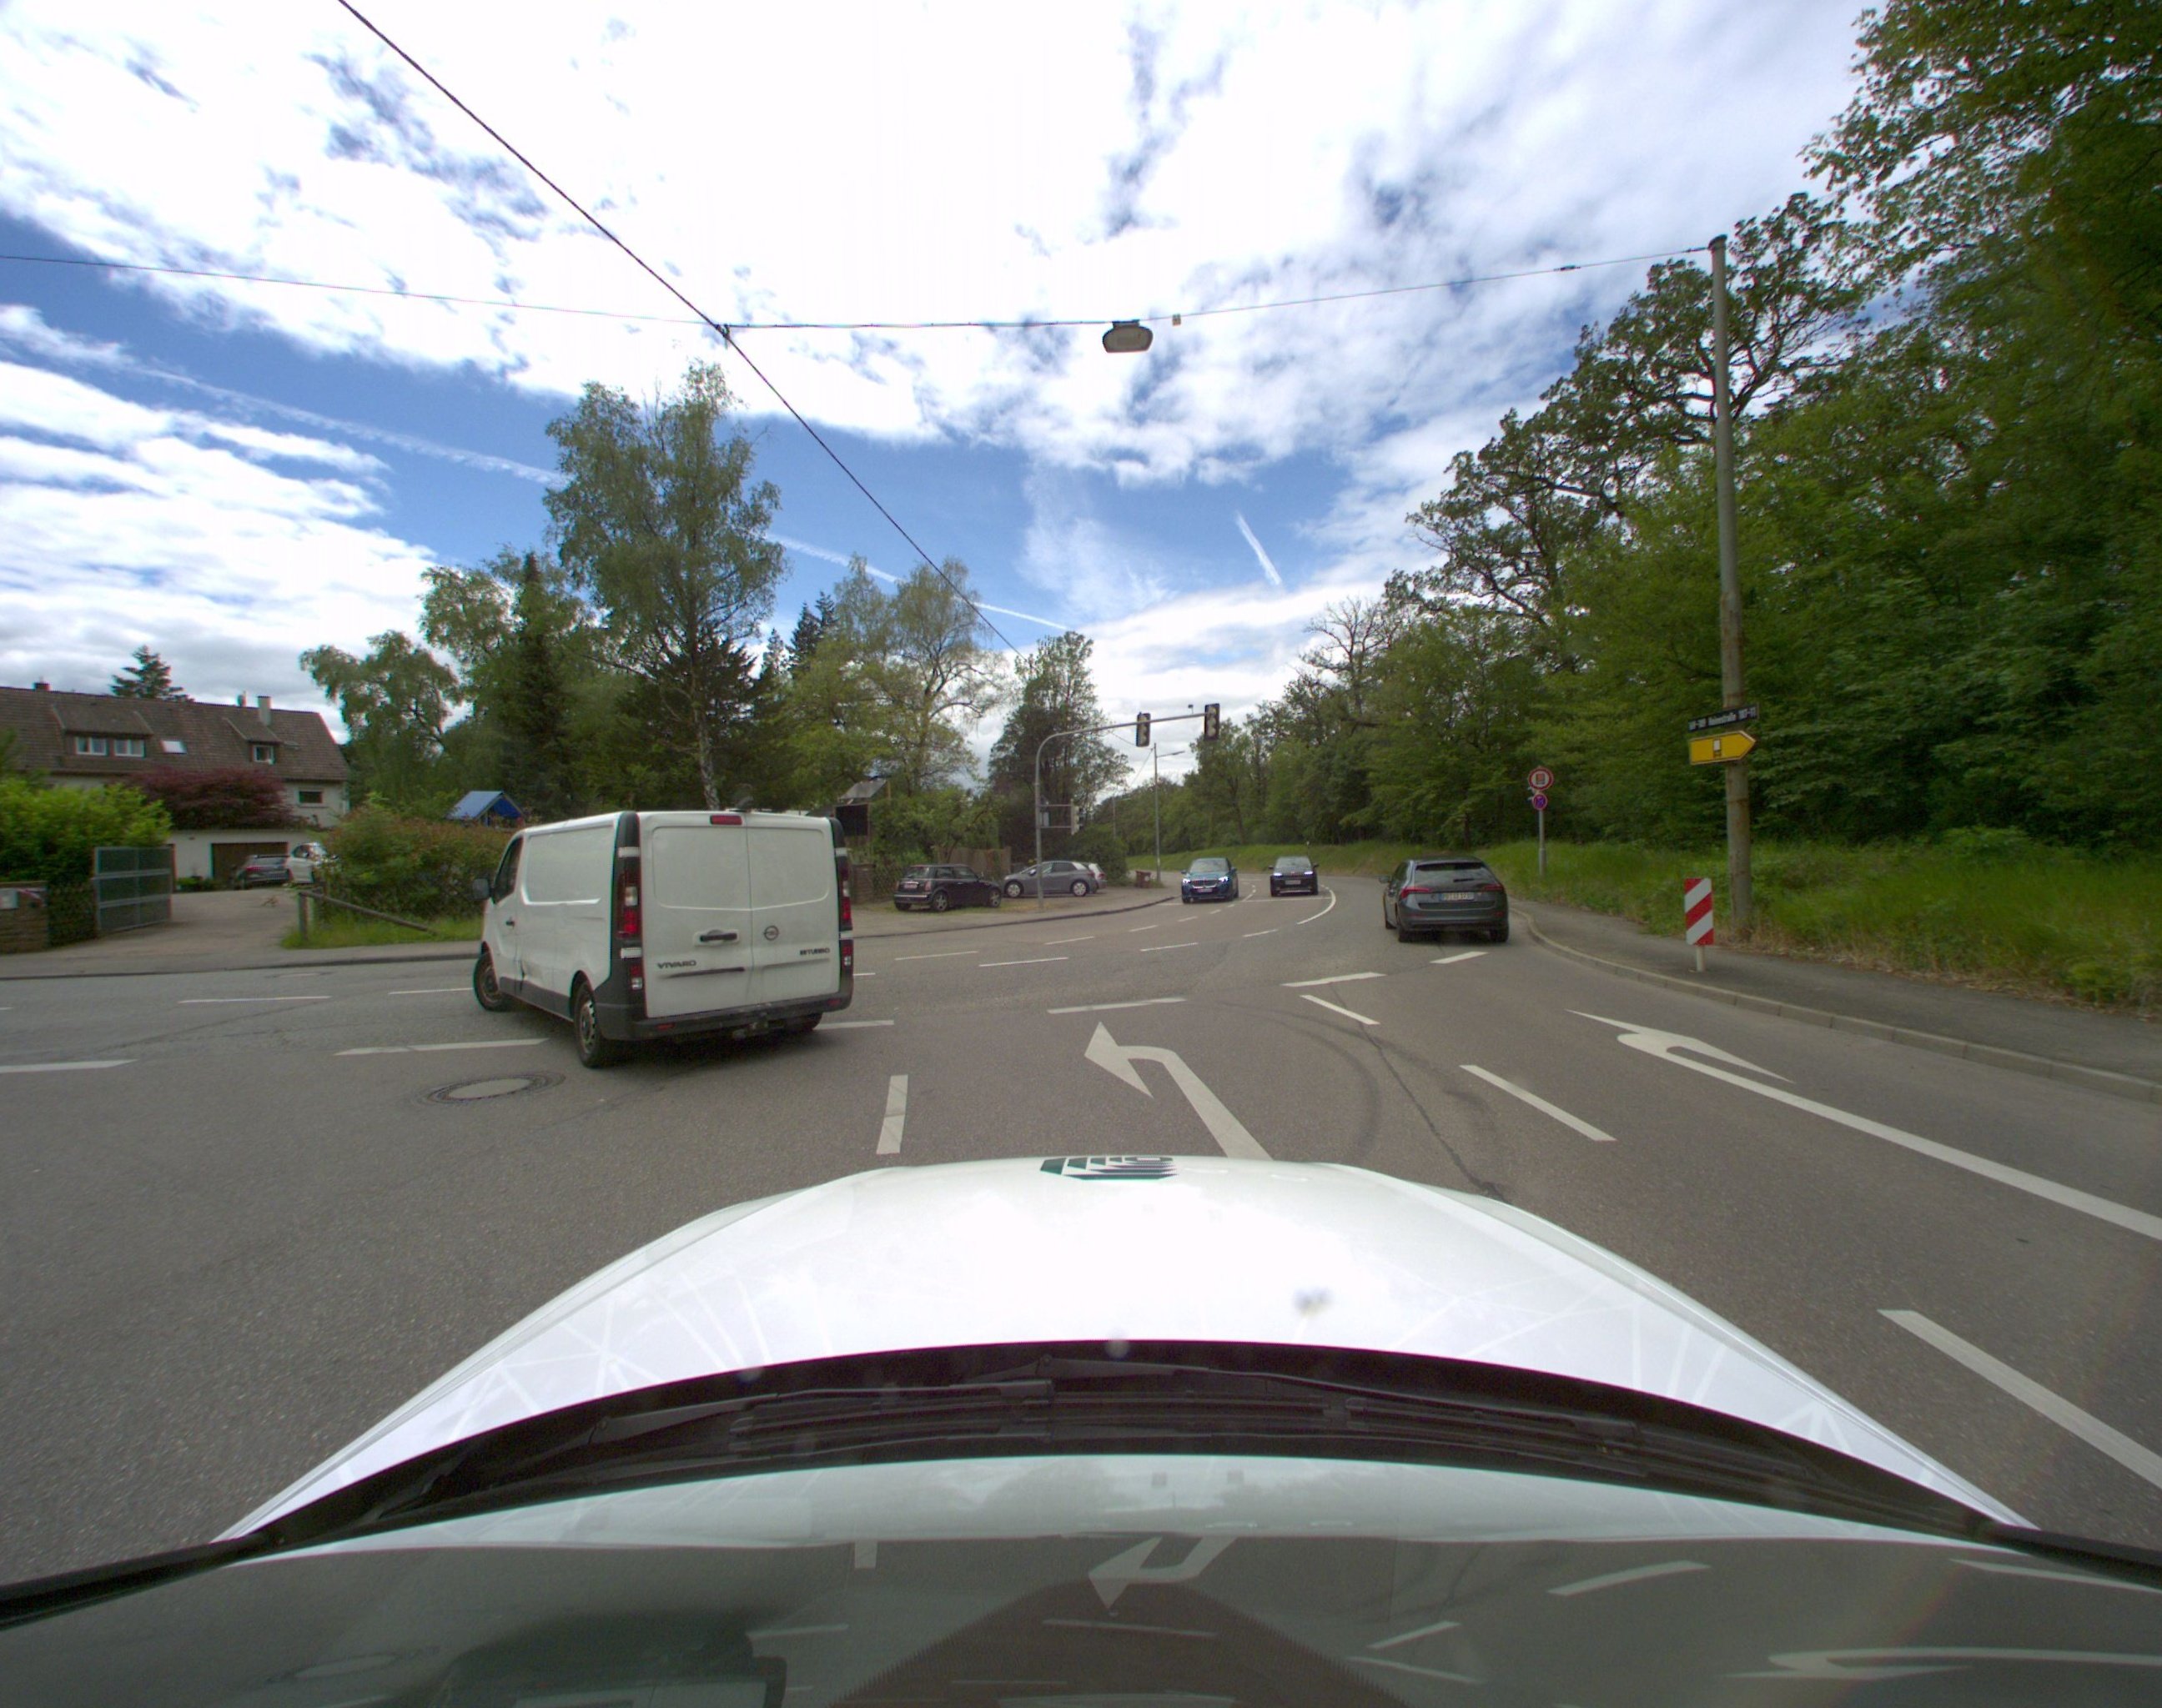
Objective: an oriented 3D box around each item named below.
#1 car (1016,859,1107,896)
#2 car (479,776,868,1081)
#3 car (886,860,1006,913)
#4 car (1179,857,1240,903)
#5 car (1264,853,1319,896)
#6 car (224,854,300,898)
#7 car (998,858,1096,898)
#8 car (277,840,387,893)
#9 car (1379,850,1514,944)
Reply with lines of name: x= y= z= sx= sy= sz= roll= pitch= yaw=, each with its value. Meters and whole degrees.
car: x=-0.901 y=1.053 z=37.844 sx=4.075 sy=1.553 sz=1.853 roll=-1 pitch=0 yaw=-2
car: x=-4.113 y=0.527 z=7.775 sx=4.556 sy=2.053 sz=1.934 roll=-2 pitch=0 yaw=45
car: x=-4.082 y=0.929 z=25.088 sx=1.681 sy=1.448 sz=3.565 roll=1 pitch=1 yaw=33
car: x=4.934 y=0.942 z=30.843 sx=1.843 sy=1.507 sz=4.016 roll=-3 pitch=0 yaw=14
car: x=8.310 y=0.775 z=32.433 sx=1.804 sy=1.507 sz=4.012 roll=-3 pitch=0 yaw=11
car: x=-34.739 y=0.878 z=34.504 sx=4.288 sy=1.657 sz=2.013 roll=0 pitch=2 yaw=42
car: x=-1.444 y=1.013 z=34.946 sx=4.075 sy=1.553 sz=1.853 roll=-1 pitch=0 yaw=-2
car: x=-26.806 y=0.418 z=29.114 sx=4.287 sy=1.657 sz=2.013 roll=-1 pitch=4 yaw=37
car: x=6.489 y=0.687 z=14.858 sx=1.778 sy=1.450 sz=4.018 roll=-1 pitch=0 yaw=18
